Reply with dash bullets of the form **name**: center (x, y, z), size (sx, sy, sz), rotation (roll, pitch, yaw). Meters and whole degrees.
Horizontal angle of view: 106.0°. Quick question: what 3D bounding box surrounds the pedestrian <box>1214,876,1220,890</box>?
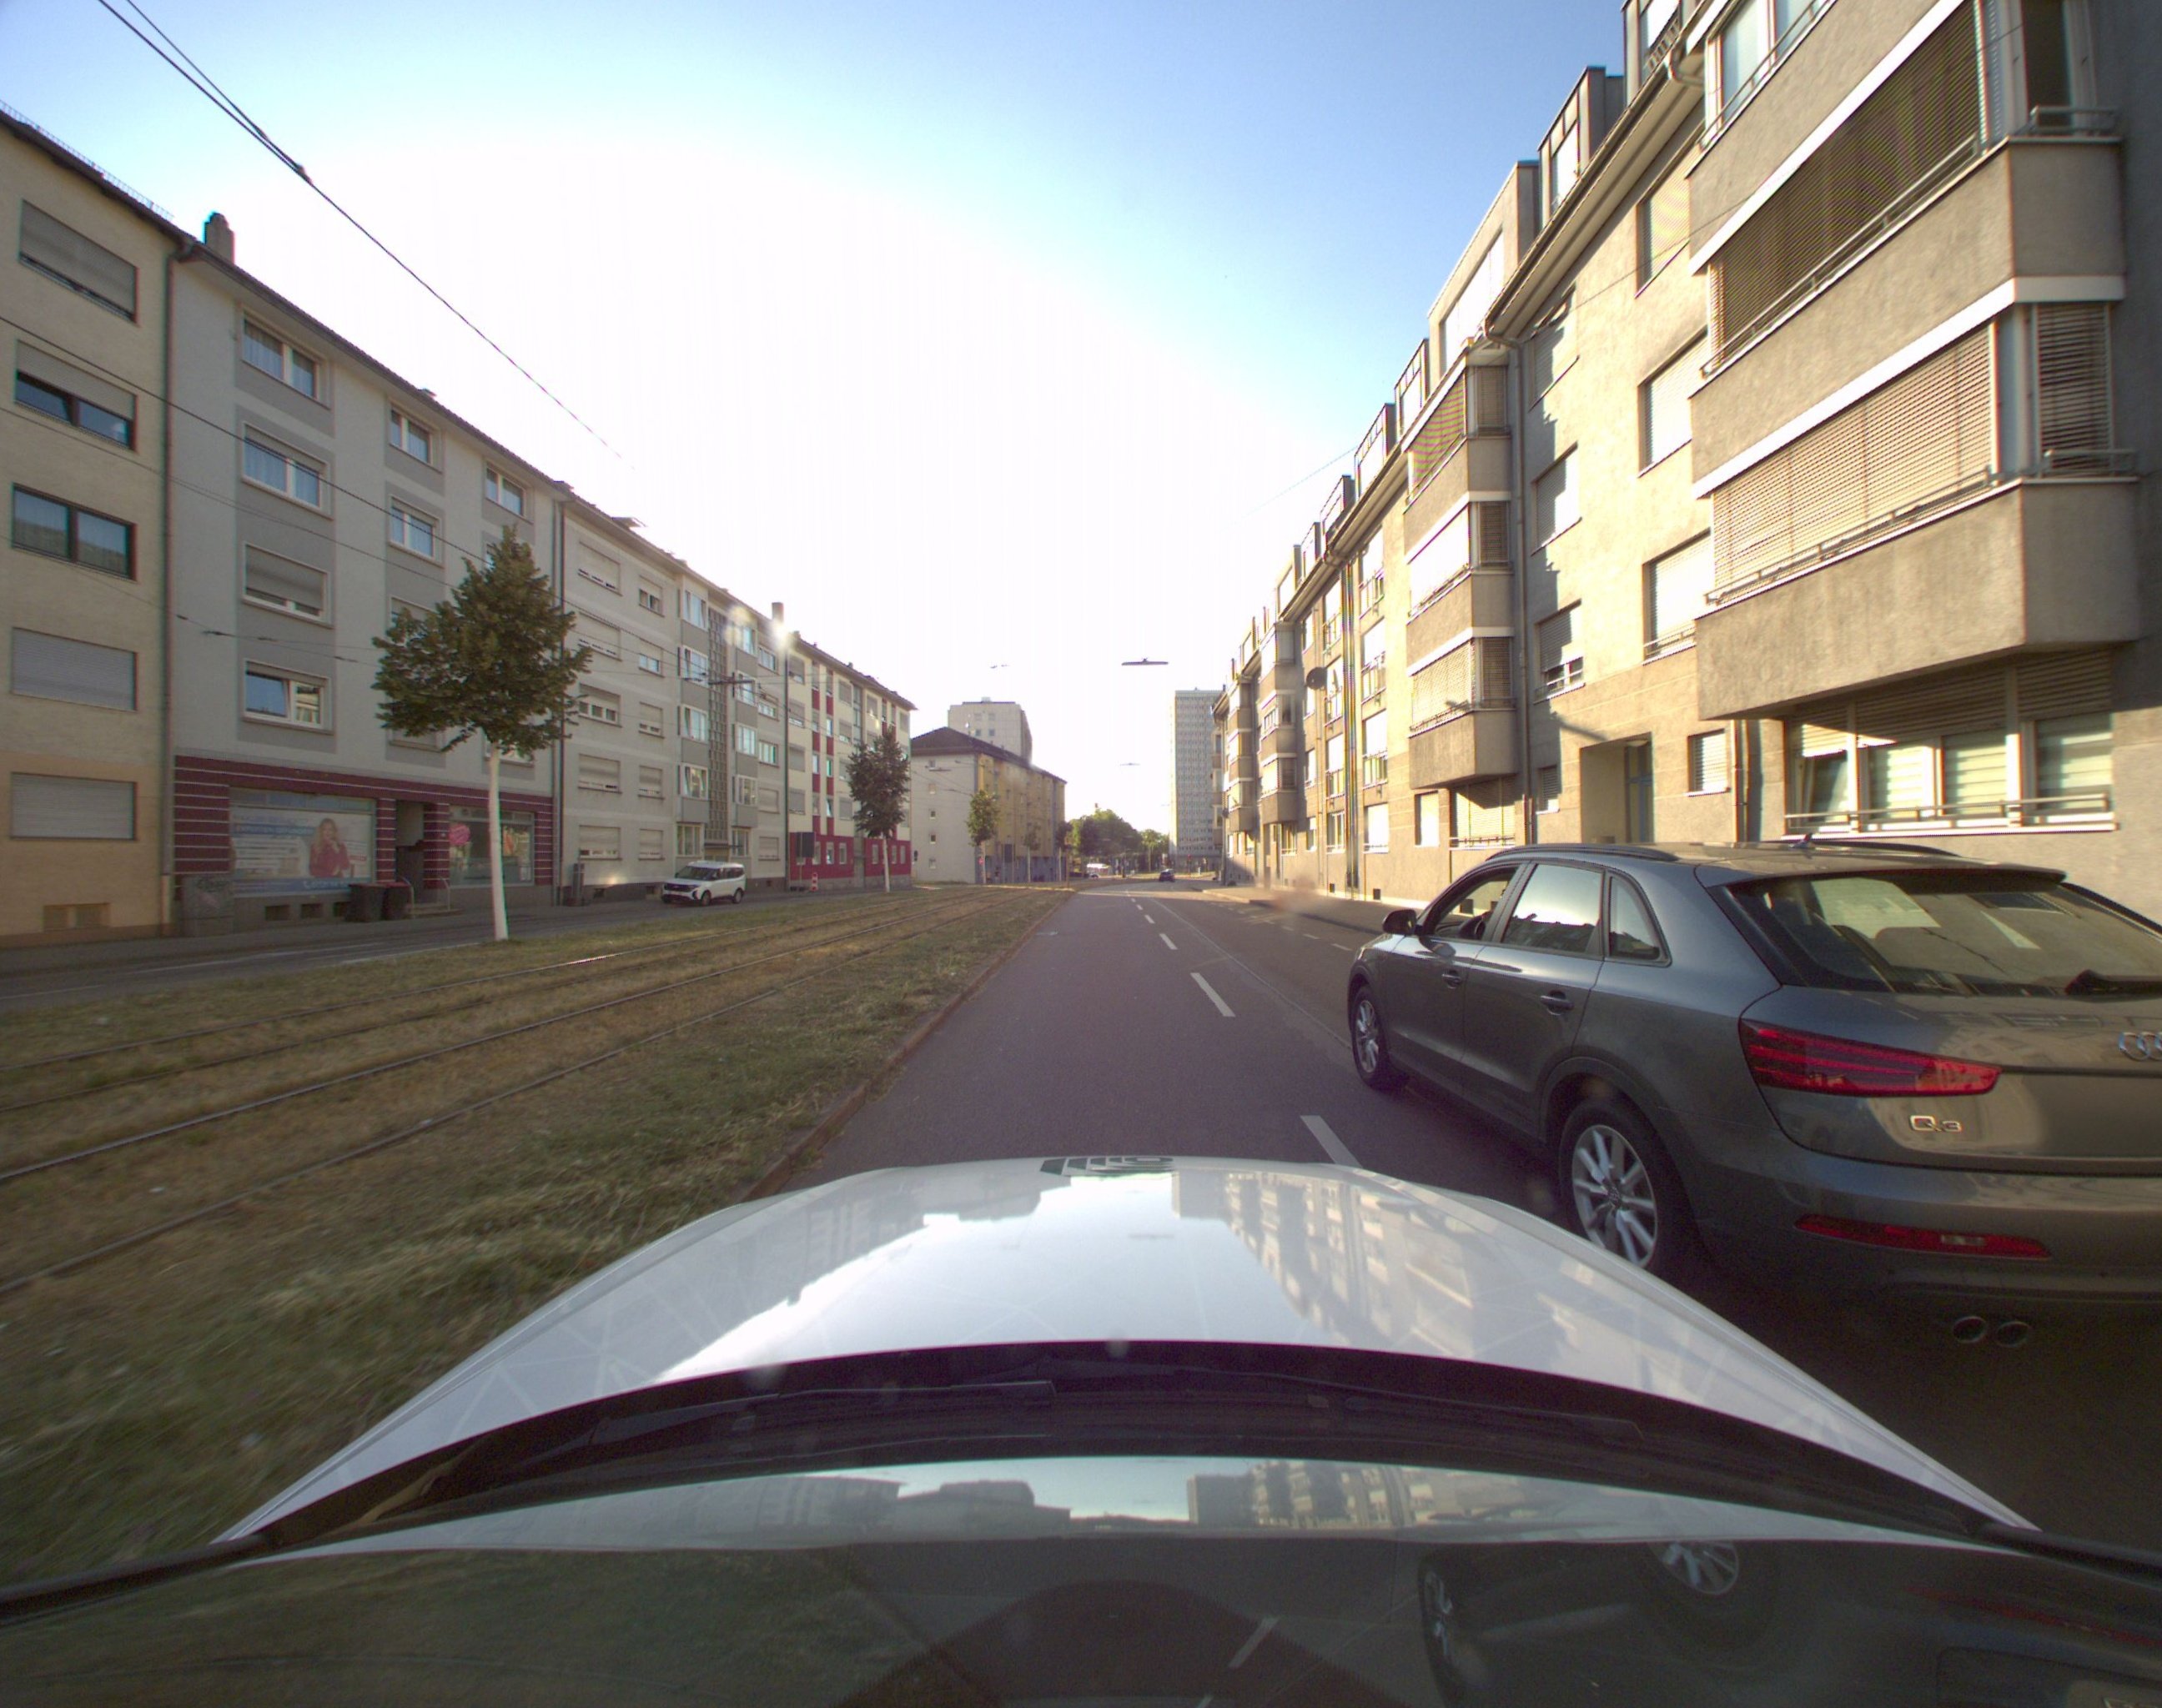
- **pedestrian**: center (13.049, 2.787, 77.885), size (0.511, 1.344, 0.610), rotation (-2, -3, 8)

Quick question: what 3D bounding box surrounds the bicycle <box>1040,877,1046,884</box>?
- **bicycle**: center (-5.330, 3.756, 114.582), size (0.424, 0.960, 1.918), rotation (-1, -2, 13)

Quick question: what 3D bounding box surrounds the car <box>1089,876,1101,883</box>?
- **car**: center (3.215, 5.671, 183.087), size (1.782, 1.469, 4.810), rotation (-3, -2, 11)

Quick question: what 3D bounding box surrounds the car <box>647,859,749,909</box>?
- **car**: center (-16.400, 1.234, 35.178), size (1.858, 1.829, 4.426), rotation (6, -1, 4)

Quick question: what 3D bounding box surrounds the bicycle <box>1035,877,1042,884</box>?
- **bicycle**: center (-5.847, 3.676, 112.258), size (0.424, 0.925, 1.918), rotation (2, -1, 14)

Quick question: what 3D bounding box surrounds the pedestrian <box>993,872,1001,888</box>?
- **pedestrian**: center (-9.475, 2.908, 91.976), size (0.589, 1.773, 0.888), rotation (3, 0, 12)

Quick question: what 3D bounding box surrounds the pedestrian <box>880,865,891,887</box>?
- **pedestrian**: center (-15.327, 1.710, 63.847), size (0.610, 1.689, 0.793), rotation (-2, -1, 7)

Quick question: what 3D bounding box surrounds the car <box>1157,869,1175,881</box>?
- **car**: center (10.952, 2.700, 104.881), size (1.759, 1.422, 3.870), rotation (-2, -1, 14)

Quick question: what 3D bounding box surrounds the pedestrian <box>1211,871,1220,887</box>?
- **pedestrian**: center (15.020, 2.779, 90.910), size (0.824, 1.772, 0.999), rotation (-2, -1, 12)

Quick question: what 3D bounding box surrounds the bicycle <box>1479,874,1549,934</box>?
- **bicycle**: center (8.190, 0.912, 15.470), size (0.358, 1.032, 1.730), rotation (-4, -1, 1)

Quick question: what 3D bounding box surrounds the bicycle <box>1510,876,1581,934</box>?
- **bicycle**: center (8.547, 0.915, 15.052), size (0.277, 0.971, 1.730), rotation (-4, -1, 1)

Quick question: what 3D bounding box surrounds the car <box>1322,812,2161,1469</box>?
- **car**: center (2.656, 0.713, 4.030), size (1.760, 1.587, 4.068), rotation (-1, -1, 1)

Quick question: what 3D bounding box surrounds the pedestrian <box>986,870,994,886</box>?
- **pedestrian**: center (-10.260, 2.689, 91.967), size (0.612, 1.694, 0.708), rotation (3, 0, 12)

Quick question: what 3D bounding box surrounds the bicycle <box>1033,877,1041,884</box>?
- **bicycle**: center (-5.986, 3.652, 111.010), size (0.424, 0.925, 1.918), rotation (2, -1, 14)
